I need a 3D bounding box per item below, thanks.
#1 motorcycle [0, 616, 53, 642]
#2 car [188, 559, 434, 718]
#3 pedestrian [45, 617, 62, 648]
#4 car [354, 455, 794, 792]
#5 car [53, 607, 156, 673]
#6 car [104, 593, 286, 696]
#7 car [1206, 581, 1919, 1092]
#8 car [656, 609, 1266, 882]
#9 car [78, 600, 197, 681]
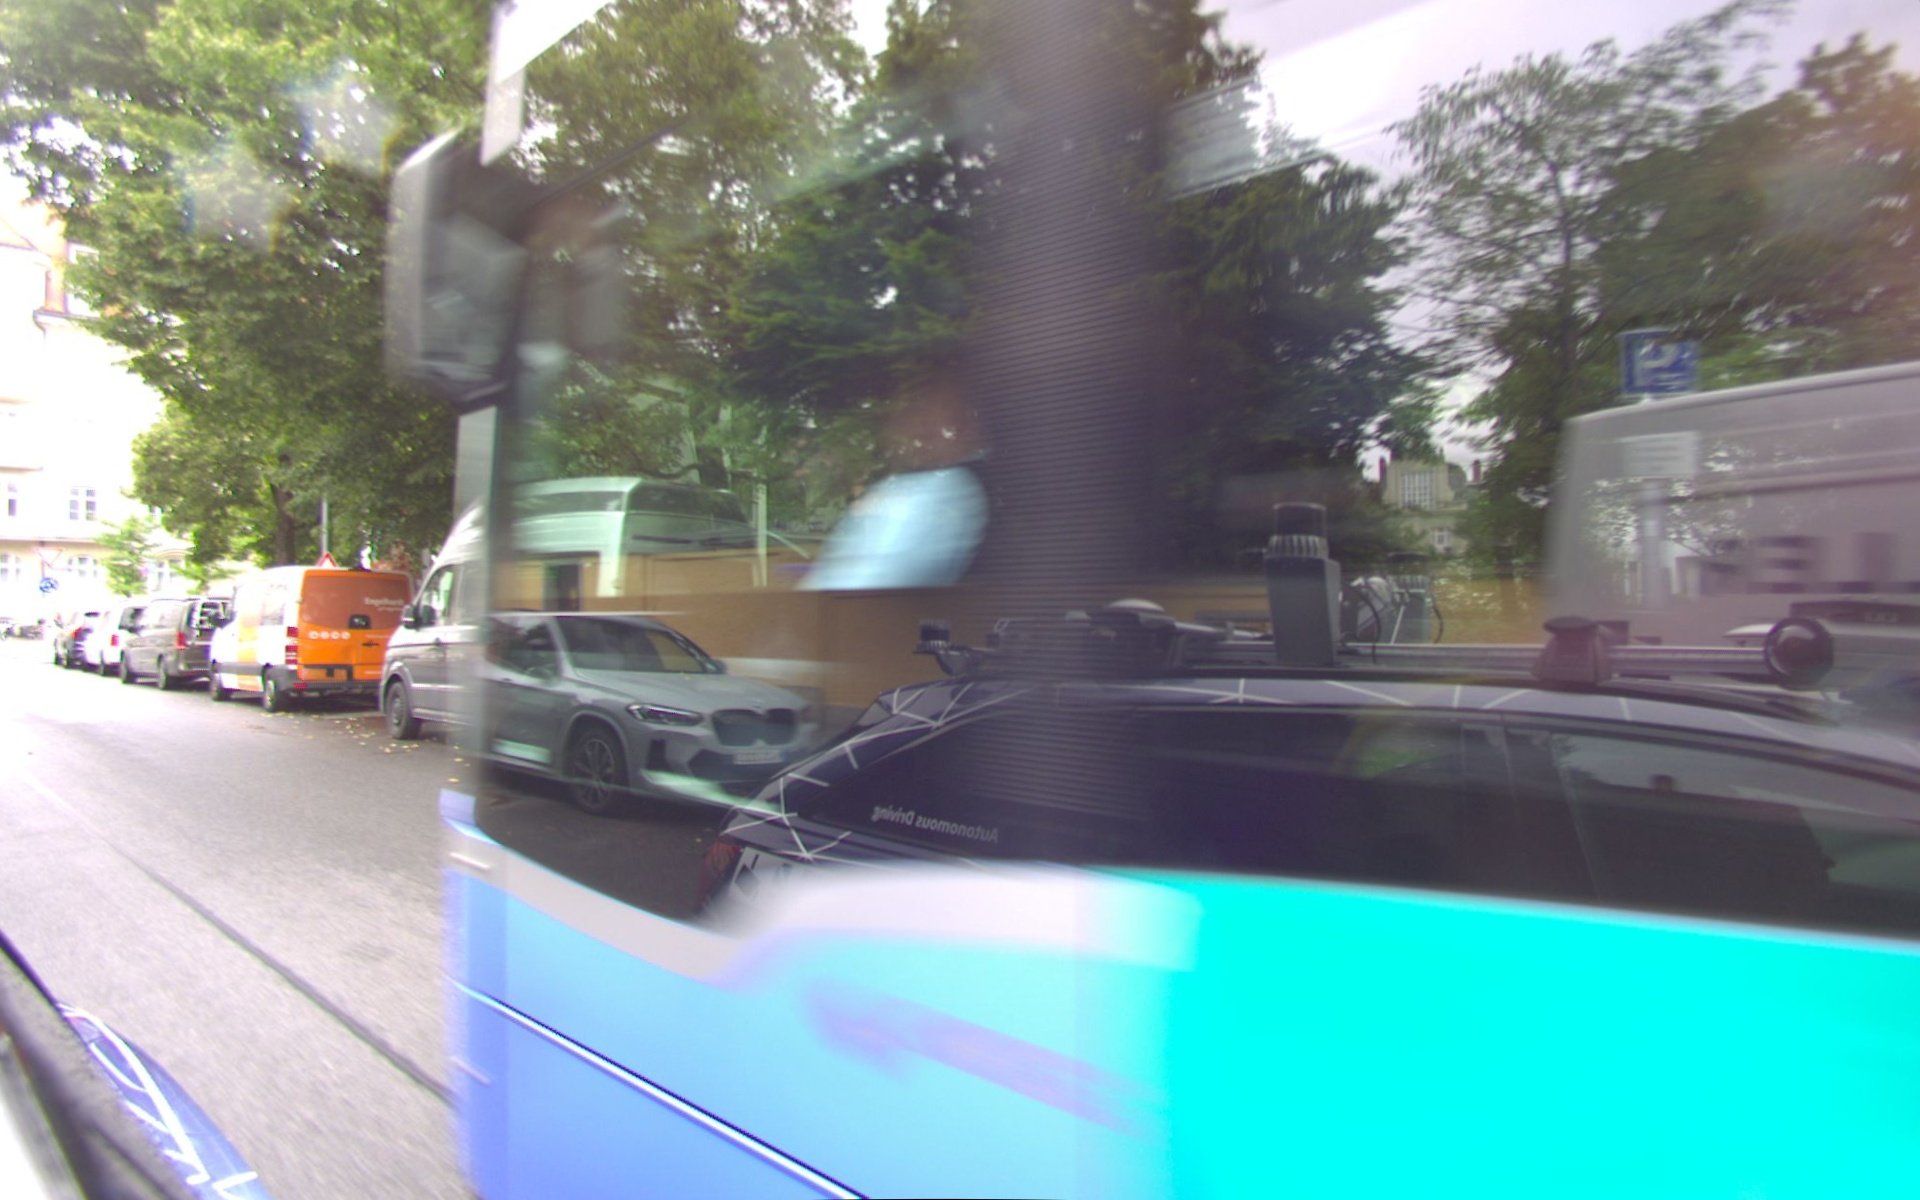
[{"bbox_3d":[-50.424,1.545,54.573,2.212,1.336,0.824,1,-1,-45],"label":"motorcycle"},{"bbox_3d":[-11.430,0.633,17.654,5.403,2.366,2.093,-1,-2,40],"label":"car"},{"bbox_3d":[-49.228,1.773,54.969,0.597,1.677,0.464,1,-1,-37],"label":"pedestrian"},{"bbox_3d":[-4.640,0.194,11.426,6.233,2.876,1.925,0,-1,41],"label":"car"},{"bbox_3d":[-25.629,1.120,30.261,5.061,1.781,1.859,0,-1,44],"label":"car"},{"bbox_3d":[-16.719,0.926,22.004,5.455,1.979,1.925,-1,-3,40],"label":"car"},{"bbox_3d":[3.336,0.686,3.528,4.552,1.449,1.770,-2,-2,44],"label":"car"},{"bbox_3d":[-0.255,0.840,7.596,4.577,1.449,1.771,-2,-2,42],"label":"car"},{"bbox_3d":[-21.812,1.044,26.768,4.834,1.952,1.859,-1,-3,44],"label":"car"}]
